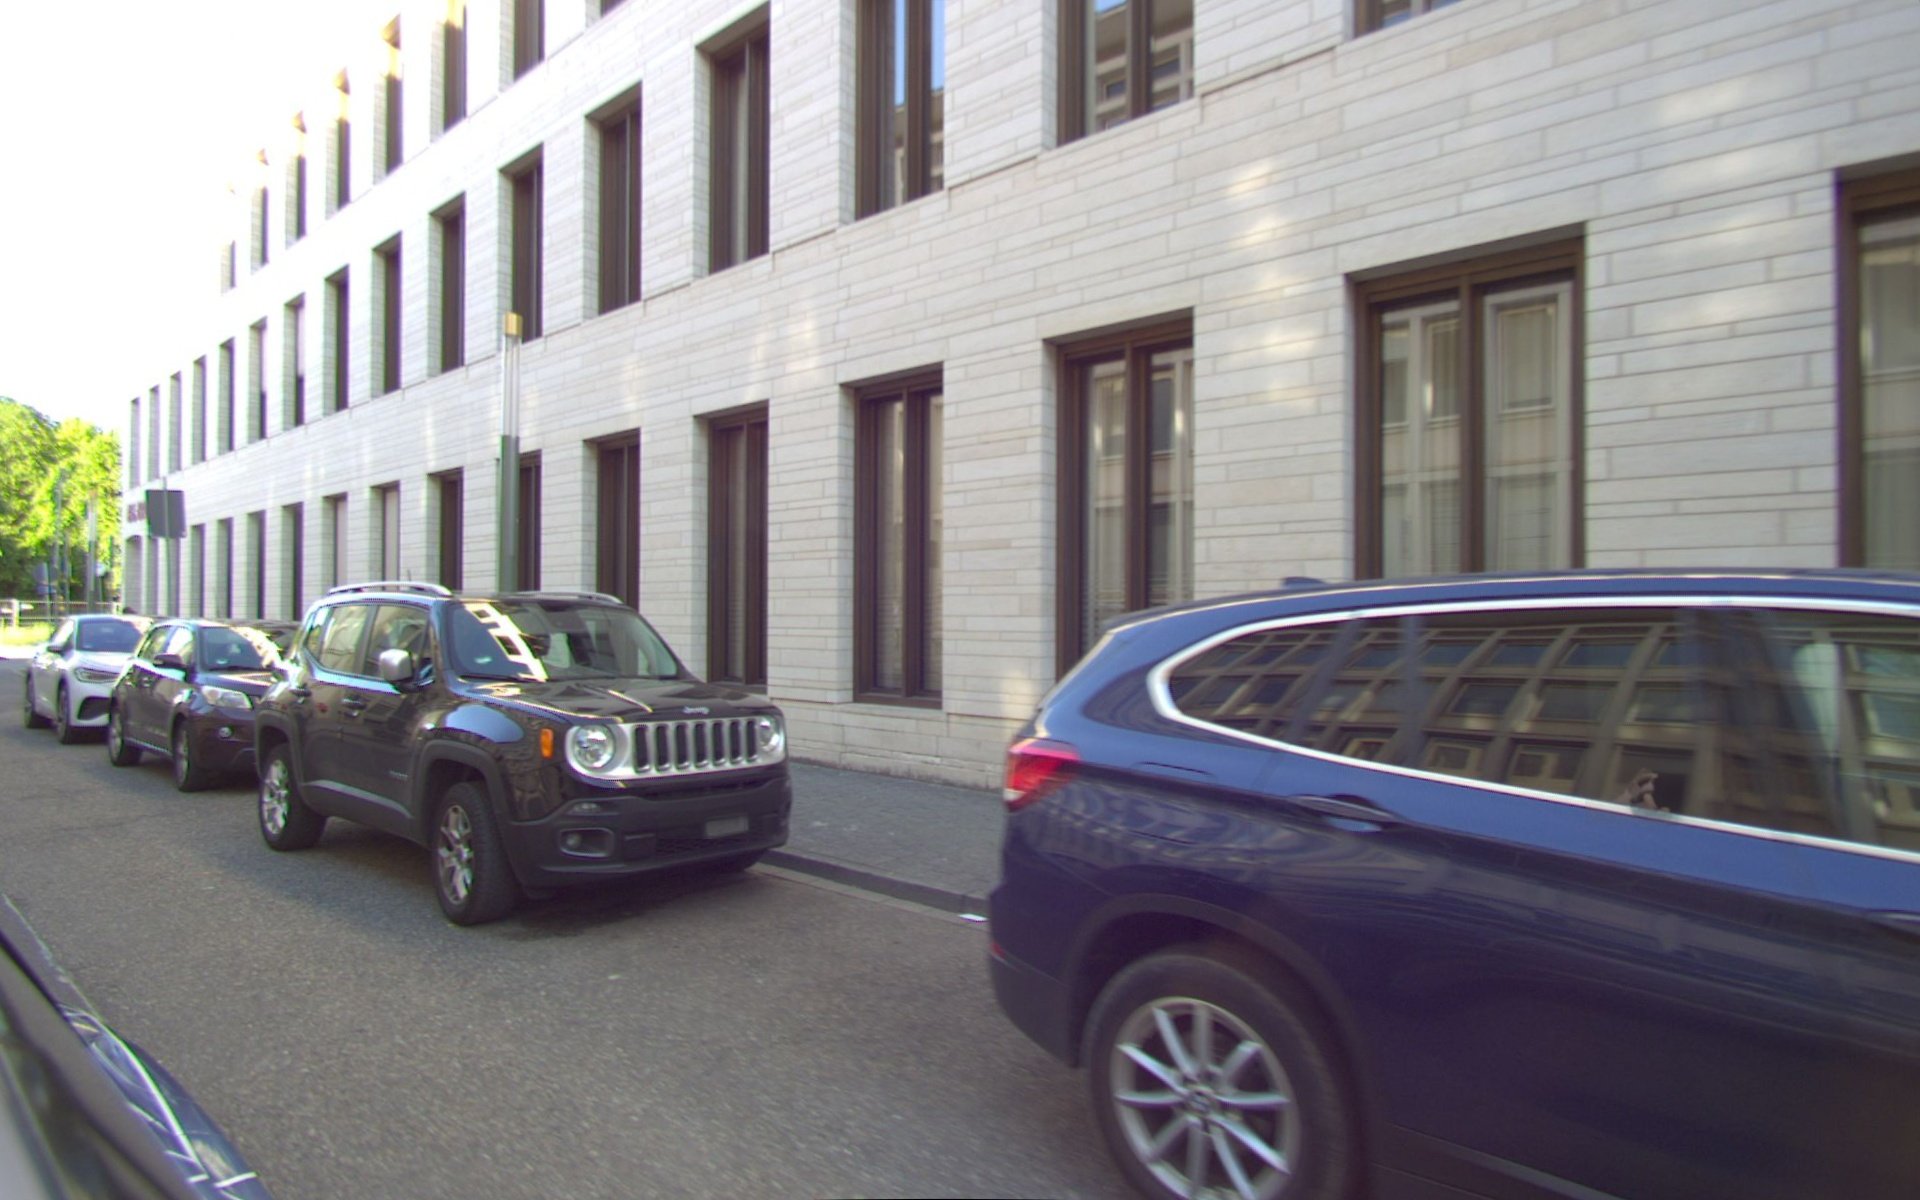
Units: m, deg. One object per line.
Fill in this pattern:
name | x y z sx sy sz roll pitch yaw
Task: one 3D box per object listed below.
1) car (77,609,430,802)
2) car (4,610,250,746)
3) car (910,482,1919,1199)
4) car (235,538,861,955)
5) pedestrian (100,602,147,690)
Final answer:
car | -7.233 0.906 10.211 4.258 1.553 1.805 -1 -2 39
car | -11.367 0.972 13.704 4.443 1.553 1.803 -2 -3 41
car | 2.004 0.665 2.172 4.150 1.607 1.722 -2 -4 40
car | -2.682 0.688 6.196 4.013 1.728 1.804 -1 -4 39
pedestrian | -17.477 0.940 21.148 0.816 1.803 0.637 0 0 41
